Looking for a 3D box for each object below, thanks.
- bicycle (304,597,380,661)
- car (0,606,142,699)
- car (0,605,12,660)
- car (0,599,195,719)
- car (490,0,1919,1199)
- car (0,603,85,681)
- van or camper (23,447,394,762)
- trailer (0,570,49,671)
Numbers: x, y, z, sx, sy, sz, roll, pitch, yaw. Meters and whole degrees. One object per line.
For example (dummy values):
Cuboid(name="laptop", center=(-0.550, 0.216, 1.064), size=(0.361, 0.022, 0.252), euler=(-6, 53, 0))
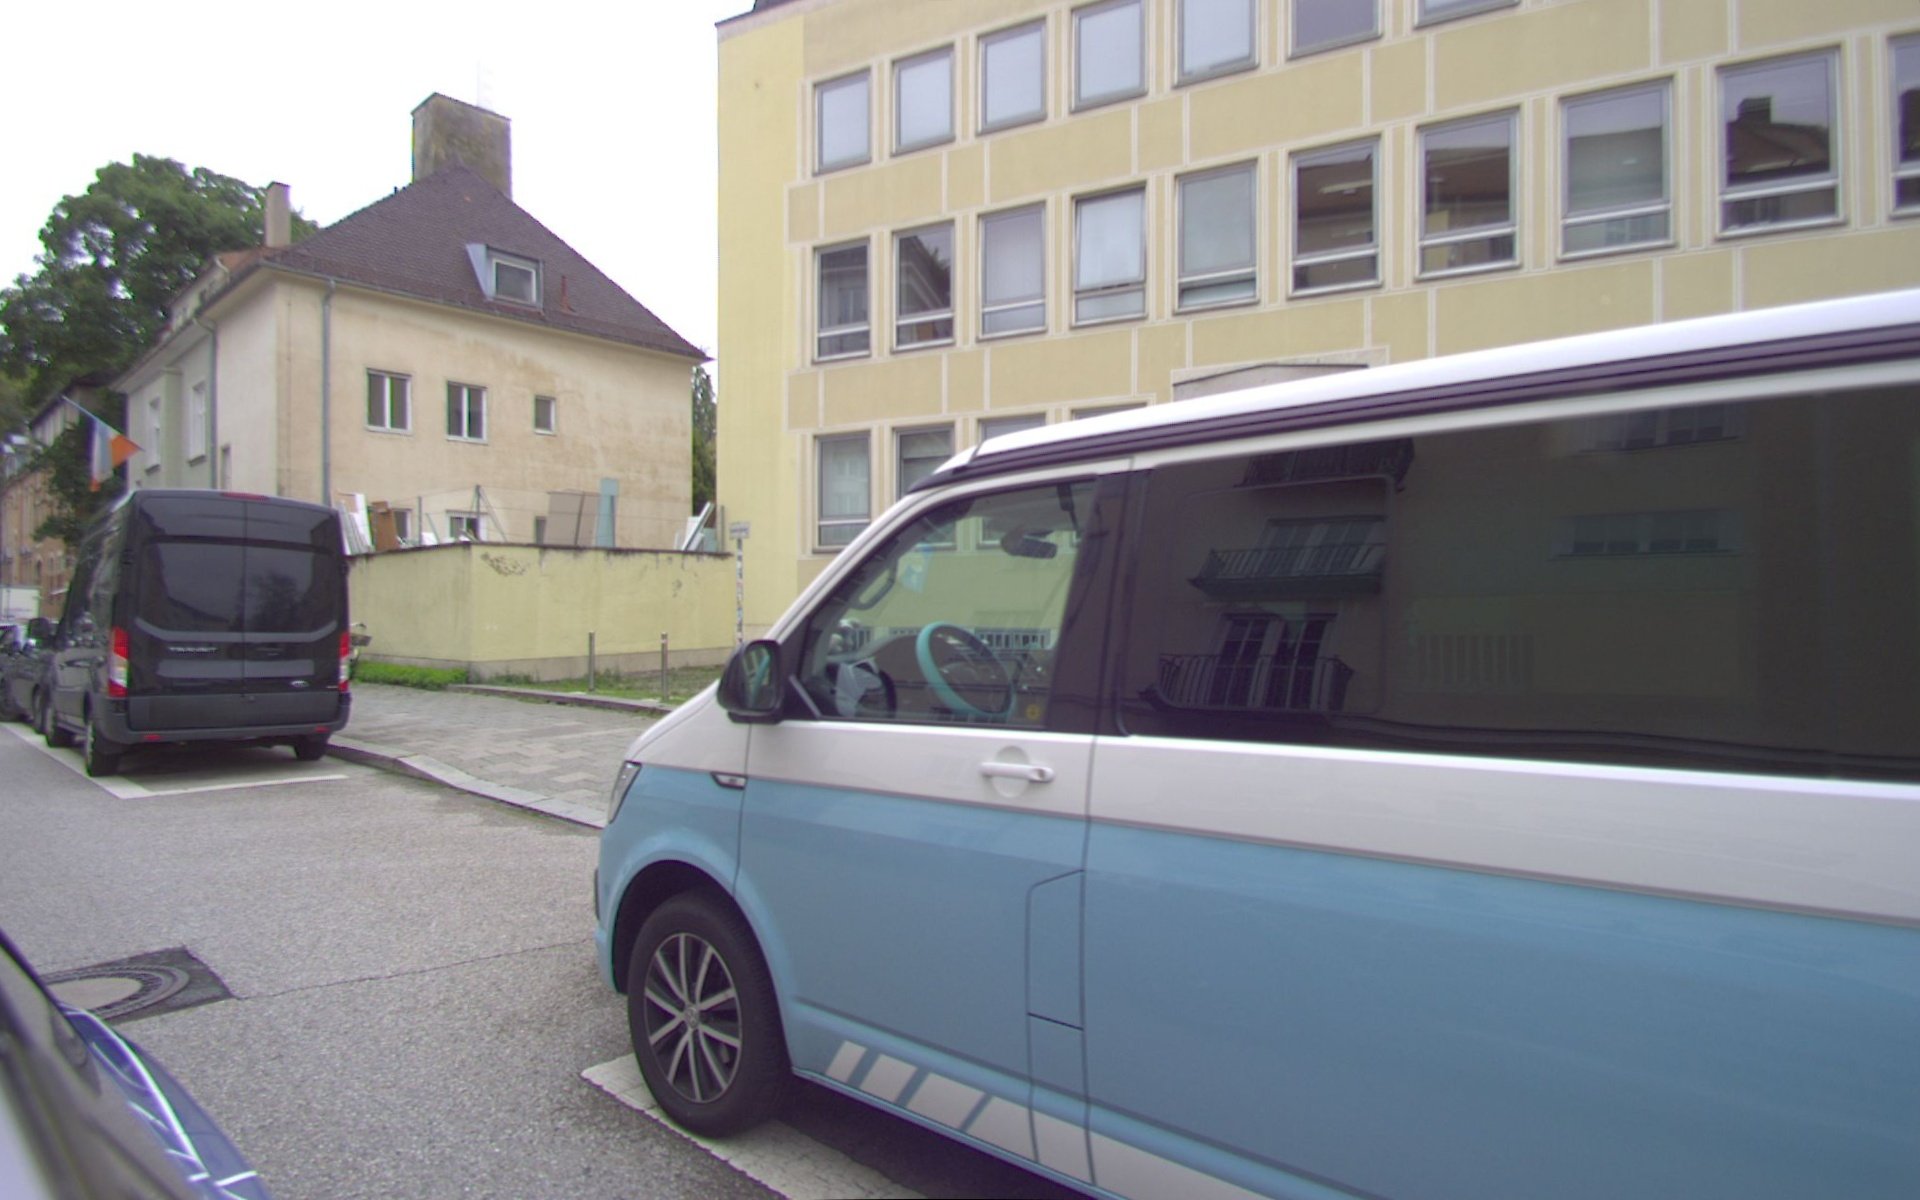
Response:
Cuboid(name="bicycle", center=(-12.541, 0.573, 20.518), size=(1.867, 1.243, 0.794), euler=(0, -1, 41))
Cuboid(name="car", center=(-16.053, 0.871, 17.812), size=(4.281, 1.447, 1.659), euler=(-1, -3, 39))
Cuboid(name="car", center=(-29.222, 0.938, 29.678), size=(4.105, 1.542, 1.661), euler=(-1, -2, 41))
Cuboid(name="car", center=(-12.730, 0.797, 14.671), size=(3.903, 1.508, 1.637), euler=(-1, -3, 38))
Cuboid(name="car", center=(0.927, 0.275, 2.648), size=(4.955, 1.975, 1.896), euler=(-1, -3, 39))
Cuboid(name="car", center=(-20.874, 0.888, 22.339), size=(5.092, 1.553, 1.843), euler=(-1, -3, 44))
Cuboid(name="van or camper", center=(-8.596, 0.105, 11.328), size=(5.561, 2.671, 2.268), euler=(-1, -3, 43))
Cuboid(name="trailer", center=(-25.307, 0.510, 26.376), size=(4.579, 2.490, 1.953), euler=(-1, -4, 45))
